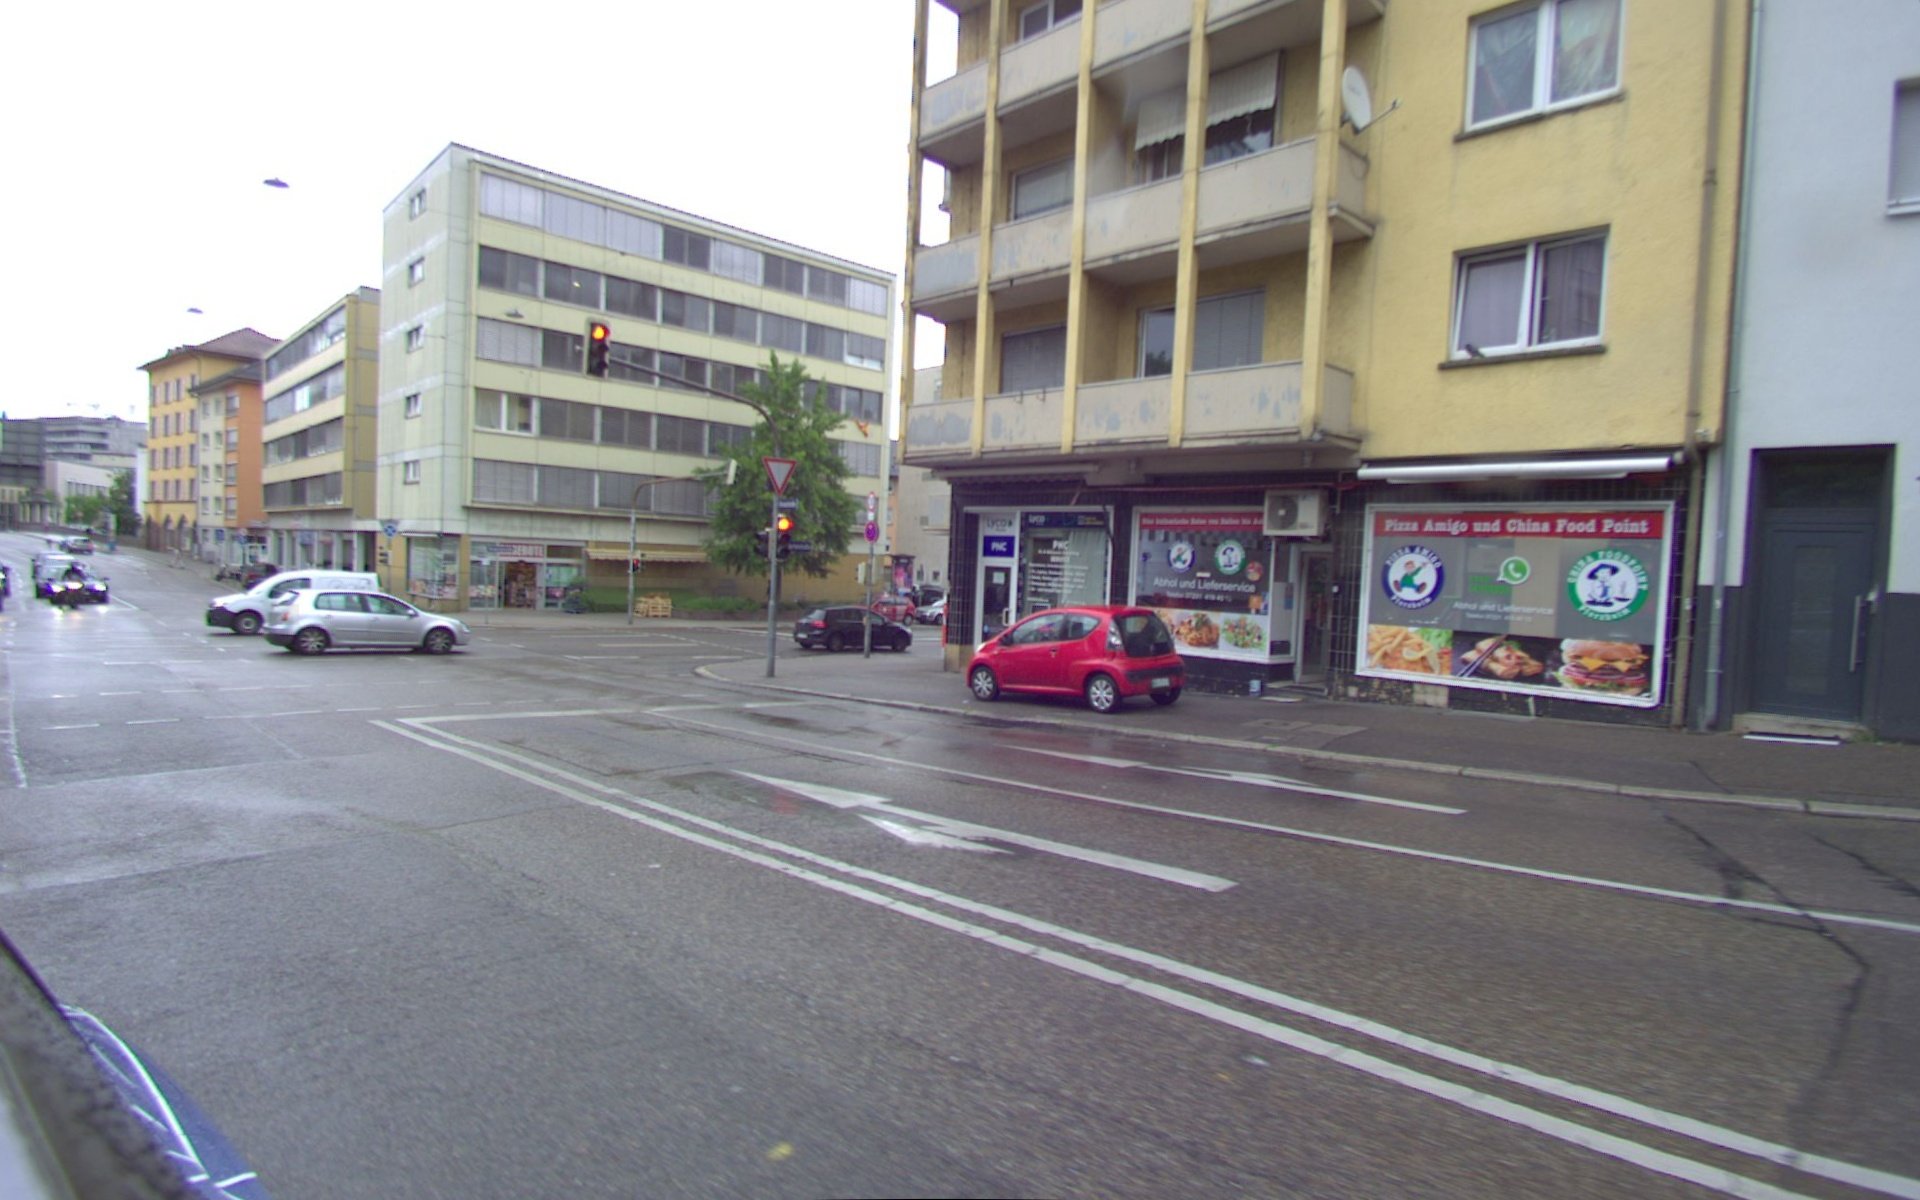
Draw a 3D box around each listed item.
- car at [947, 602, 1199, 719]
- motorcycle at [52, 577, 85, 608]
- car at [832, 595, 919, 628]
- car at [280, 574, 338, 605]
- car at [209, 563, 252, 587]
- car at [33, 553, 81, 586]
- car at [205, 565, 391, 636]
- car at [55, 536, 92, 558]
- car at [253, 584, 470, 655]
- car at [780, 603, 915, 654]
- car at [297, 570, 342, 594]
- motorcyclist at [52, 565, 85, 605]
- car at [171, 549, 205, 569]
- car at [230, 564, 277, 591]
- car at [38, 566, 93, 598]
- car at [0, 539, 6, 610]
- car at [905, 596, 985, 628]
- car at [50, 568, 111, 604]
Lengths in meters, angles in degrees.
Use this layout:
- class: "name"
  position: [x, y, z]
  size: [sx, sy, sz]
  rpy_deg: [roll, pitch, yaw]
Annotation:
- class: "car"
  position: [1.593, 0.792, 15.109]
  size: [1.591, 1.475, 3.537]
  rpy_deg: [-2, 2, -44]
- class: "motorcycle"
  position: [-33.175, -0.281, 37.660]
  size: [0.866, 1.108, 1.802]
  rpy_deg: [1, 0, -43]
- class: "car"
  position: [-4.102, 0.559, 49.262]
  size: [3.828, 1.437, 1.729]
  rpy_deg: [2, 2, -38]
- class: "car"
  position: [-32.247, -0.535, 50.093]
  size: [1.822, 1.430, 3.574]
  rpy_deg: [-3, 3, -42]
- class: "car"
  position: [-48.660, -1.674, 67.457]
  size: [1.822, 1.578, 4.375]
  rpy_deg: [-3, 3, -42]
- class: "car"
  position: [-48.269, -1.631, 54.103]
  size: [1.822, 1.727, 3.574]
  rpy_deg: [-2, 3, -42]
- class: "car"
  position: [-18.778, 0.048, 28.792]
  size: [4.164, 1.869, 1.994]
  rpy_deg: [2, 0, -41]
- class: "car"
  position: [-79.219, -4.725, 90.407]
  size: [4.367, 1.721, 1.825]
  rpy_deg: [5, 2, 40]
- class: "car"
  position: [-13.601, 0.451, 23.128]
  size: [3.975, 1.435, 1.690]
  rpy_deg: [2, 1, -43]
- class: "car"
  position: [-3.564, 0.934, 32.658]
  size: [4.104, 1.435, 1.689]
  rpy_deg: [4, -3, -43]
- class: "car"
  position: [-44.318, -1.268, 70.003]
  size: [1.822, 1.578, 4.374]
  rpy_deg: [-3, 3, -42]
- class: "motorcyclist"
  position: [-33.255, -0.560, 37.752]
  size: [0.866, 1.490, 0.797]
  rpy_deg: [1, 0, -43]
- class: "car"
  position: [-62.764, -3.299, 82.220]
  size: [1.822, 1.578, 4.375]
  rpy_deg: [-3, 3, -42]
- class: "car"
  position: [-44.013, -1.413, 63.026]
  size: [1.822, 1.578, 4.375]
  rpy_deg: [-3, 3, -42]
- class: "car"
  position: [-41.591, -0.860, 47.039]
  size: [1.822, 1.430, 3.574]
  rpy_deg: [-3, 3, -42]
- class: "car"
  position: [-36.594, -0.930, 37.086]
  size: [2.199, 2.543, 5.478]
  rpy_deg: [-2, 2, -42]
- class: "car"
  position: [-0.753, 0.624, 52.180]
  size: [3.828, 1.437, 1.729]
  rpy_deg: [2, 2, -38]
- class: "car"
  position: [-36.696, -0.599, 42.215]
  size: [1.822, 1.430, 3.574]
  rpy_deg: [-3, 3, -42]
